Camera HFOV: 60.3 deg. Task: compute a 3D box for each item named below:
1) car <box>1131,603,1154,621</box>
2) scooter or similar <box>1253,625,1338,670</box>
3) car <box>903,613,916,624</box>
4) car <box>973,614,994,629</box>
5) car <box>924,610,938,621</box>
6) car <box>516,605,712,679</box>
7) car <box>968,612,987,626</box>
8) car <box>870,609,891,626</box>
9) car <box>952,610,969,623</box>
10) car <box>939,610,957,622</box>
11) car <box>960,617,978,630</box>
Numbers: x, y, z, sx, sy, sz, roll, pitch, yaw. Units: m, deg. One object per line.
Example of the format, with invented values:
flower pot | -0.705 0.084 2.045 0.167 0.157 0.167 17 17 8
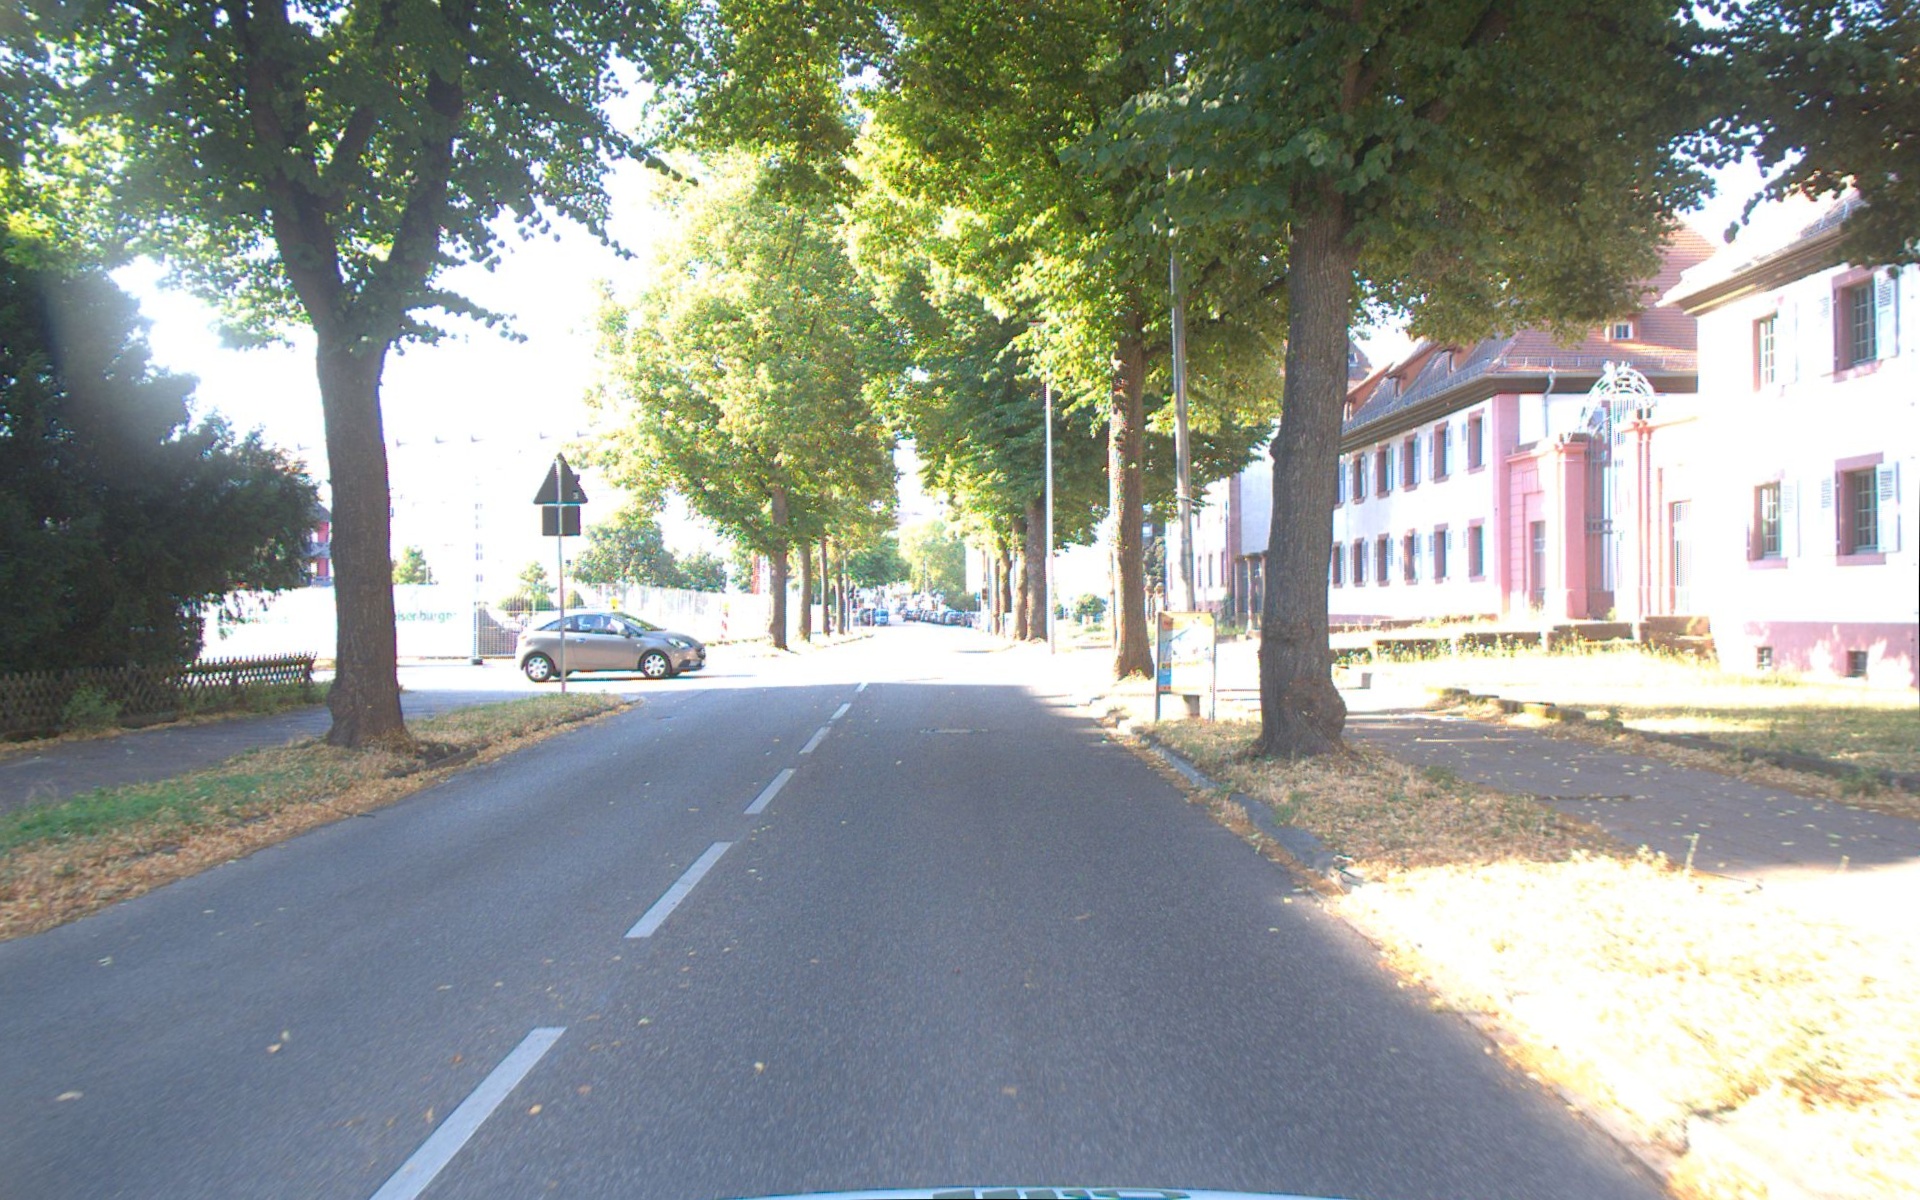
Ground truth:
car | 16.363 1.087 148.469 1.775 1.587 3.626 1 -2 2
scooter or similar | 5.874 0.821 29.026 1.201 0.557 1.063 -10 0 -1
car | -7.285 2.628 239.654 1.680 1.512 3.996 -2 -1 -4
car | 2.171 1.992 153.190 1.804 1.283 3.999 -1 -1 -1
car | -4.077 2.174 232.019 1.805 1.410 3.996 -1 -1 -4
car | -7.277 0.871 34.990 3.764 1.499 1.651 -1 0 1
car | 1.727 1.862 163.285 1.804 1.283 3.999 -1 0 -1
car | -8.489 1.834 175.634 1.955 1.717 3.994 -1 -1 -6
car | 0.020 1.909 188.497 1.804 1.410 3.998 -1 0 -2
car | -1.445 1.945 199.316 1.805 1.410 3.996 -1 -1 -4
car | 0.905 2.377 170.511 1.804 1.283 3.999 -1 -1 -1
